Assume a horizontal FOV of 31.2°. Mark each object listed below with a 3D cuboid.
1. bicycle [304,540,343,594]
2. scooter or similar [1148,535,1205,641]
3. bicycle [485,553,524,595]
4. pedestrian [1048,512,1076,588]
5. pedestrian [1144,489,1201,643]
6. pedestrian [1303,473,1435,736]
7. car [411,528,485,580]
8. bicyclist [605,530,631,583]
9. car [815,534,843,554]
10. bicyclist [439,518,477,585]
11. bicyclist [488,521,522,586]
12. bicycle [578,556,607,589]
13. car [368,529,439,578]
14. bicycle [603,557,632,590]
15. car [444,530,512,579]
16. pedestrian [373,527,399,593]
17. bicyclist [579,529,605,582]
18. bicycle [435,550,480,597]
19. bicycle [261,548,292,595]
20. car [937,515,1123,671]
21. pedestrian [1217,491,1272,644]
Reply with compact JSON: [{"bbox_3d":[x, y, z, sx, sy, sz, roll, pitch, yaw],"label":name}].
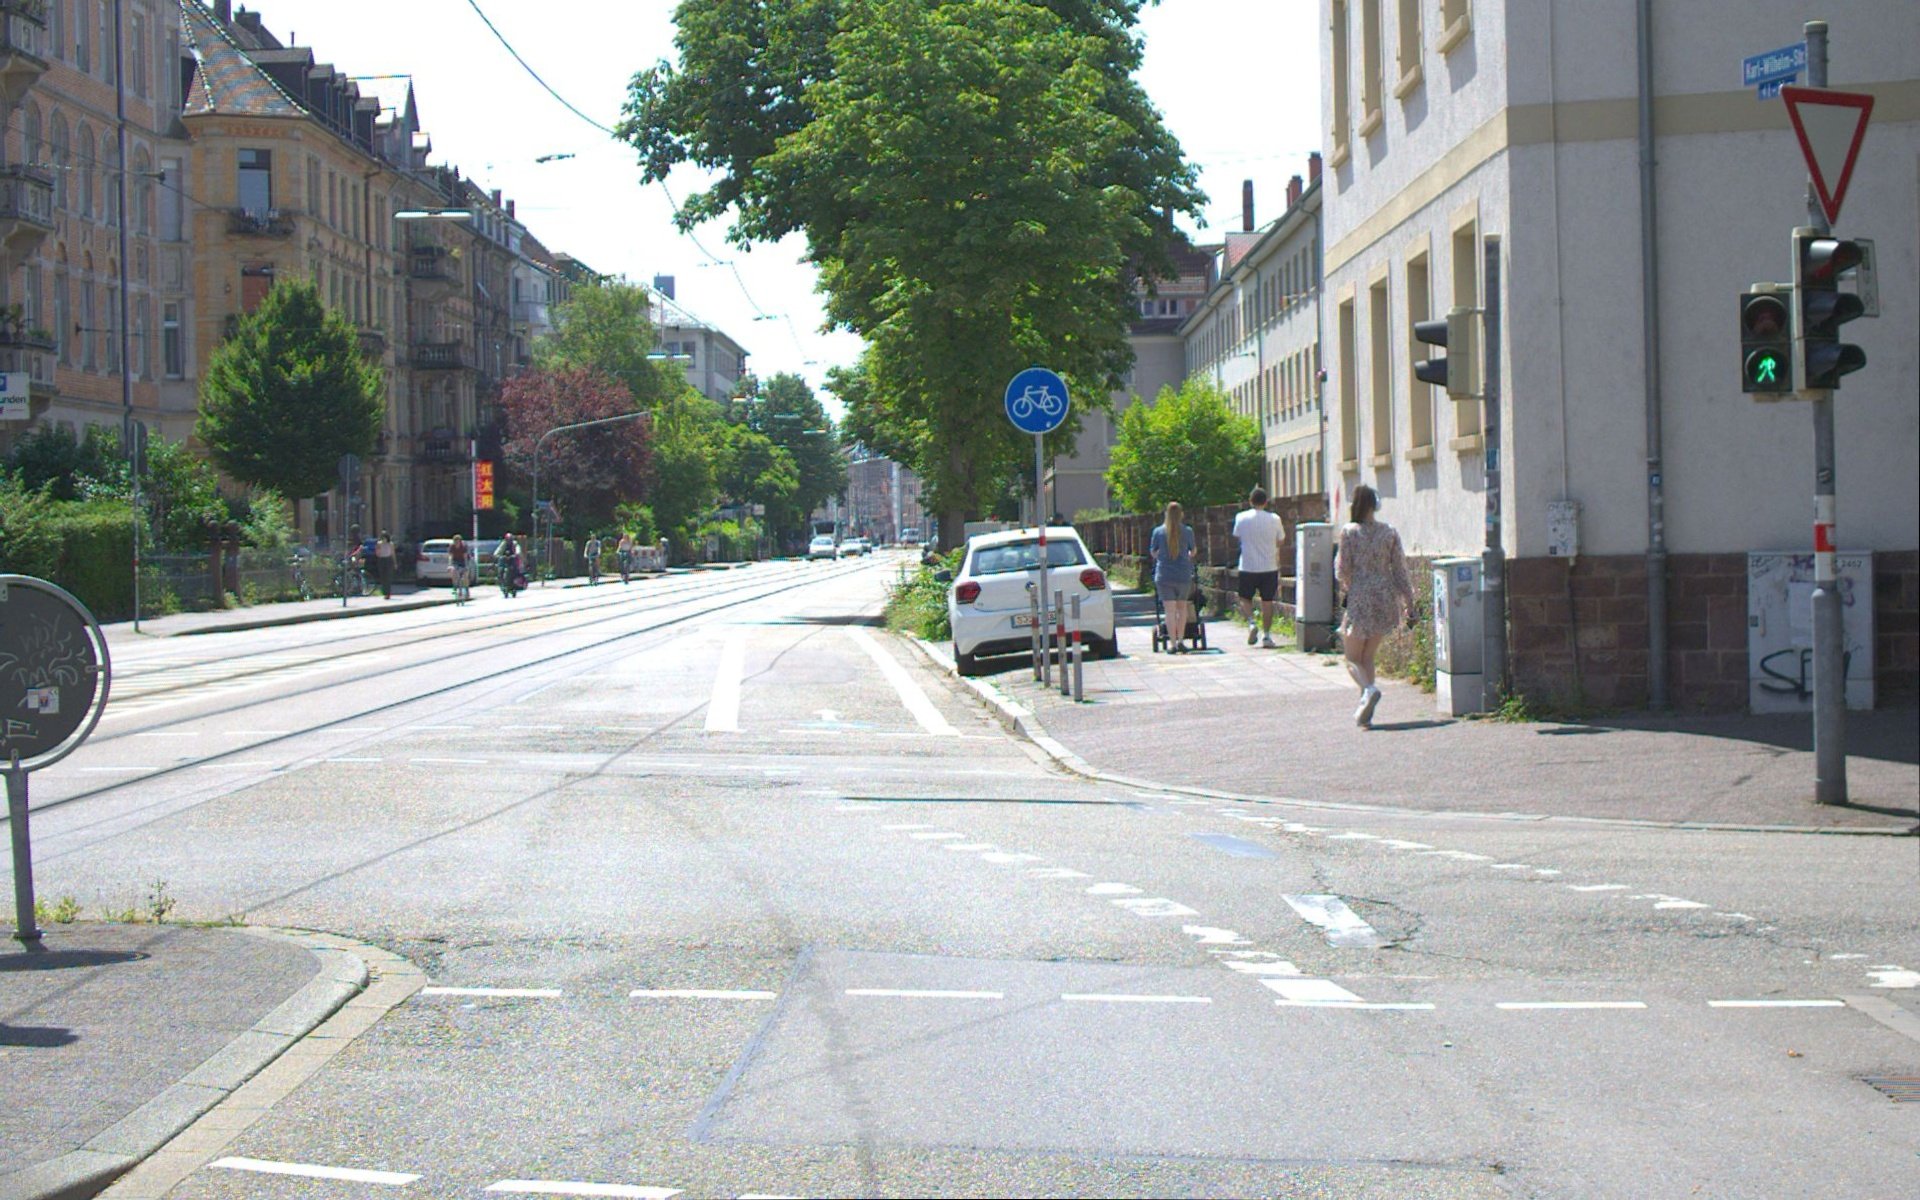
[{"bbox_3d":[-15.673,-0.823,84.676,0.677,1.274,1.919,-1,1,-3],"label":"bicycle"},{"bbox_3d":[2.405,-0.138,38.111,0.557,1.151,1.205,1,0,6],"label":"scooter or similar"},{"bbox_3d":[-12.460,-0.722,94.081,0.727,1.119,2.085,1,1,1],"label":"bicycle"},{"bbox_3d":[2.093,-1.034,70.728,0.521,1.557,0.573,-1,1,-1],"label":"pedestrian"},{"bbox_3d":[2.301,-0.366,37.181,0.557,1.640,0.677,1,0,6],"label":"pedestrian"},{"bbox_3d":[2.857,0.017,23.940,0.651,1.684,1.057,-5,4,13],"label":"pedestrian"},{"bbox_3d":[-17.203,-1.541,115.573,1.919,1.709,4.000,1,1,-1],"label":"car"},{"bbox_3d":[-11.776,-1.505,118.356,0.727,1.812,1.079,1,0,1],"label":"bicyclist"},{"bbox_3d":[-8.326,-3.552,218.673,1.706,1.273,4.000,1,1,-1],"label":"car"},{"bbox_3d":[-12.294,-1.180,84.226,0.727,1.623,1.079,1,0,1],"label":"bicyclist"},{"bbox_3d":[-12.452,-1.269,94.114,0.727,1.762,1.079,1,0,1],"label":"bicyclist"},{"bbox_3d":[-12.674,-0.947,118.501,0.727,1.119,2.085,1,1,1],"label":"bicycle"},{"bbox_3d":[-20.033,-1.662,123.910,1.919,1.709,4.000,1,1,-1],"label":"car"},{"bbox_3d":[-11.789,-0.905,118.410,0.727,1.119,2.085,1,1,1],"label":"bicycle"},{"bbox_3d":[-17.347,-1.624,123.837,1.919,1.709,4.000,1,1,-1],"label":"car"},{"bbox_3d":[-14.583,-1.021,87.344,0.521,1.653,0.529,-1,1,-1],"label":"pedestrian"},{"bbox_3d":[-12.661,-1.518,118.424,0.727,1.812,1.079,1,0,1],"label":"bicyclist"},{"bbox_3d":[-12.308,-0.656,84.220,0.727,1.119,2.085,1,1,1],"label":"bicycle"},{"bbox_3d":[-15.916,-0.675,80.034,0.677,1.061,1.919,-1,1,-11],"label":"bicycle"},{"bbox_3d":[0.709,-0.089,37.314,1.815,1.511,4.000,-3,1,-1],"label":"car"},{"bbox_3d":[3.100,-0.357,37.443,0.557,1.640,0.677,1,0,6],"label":"pedestrian"}]
